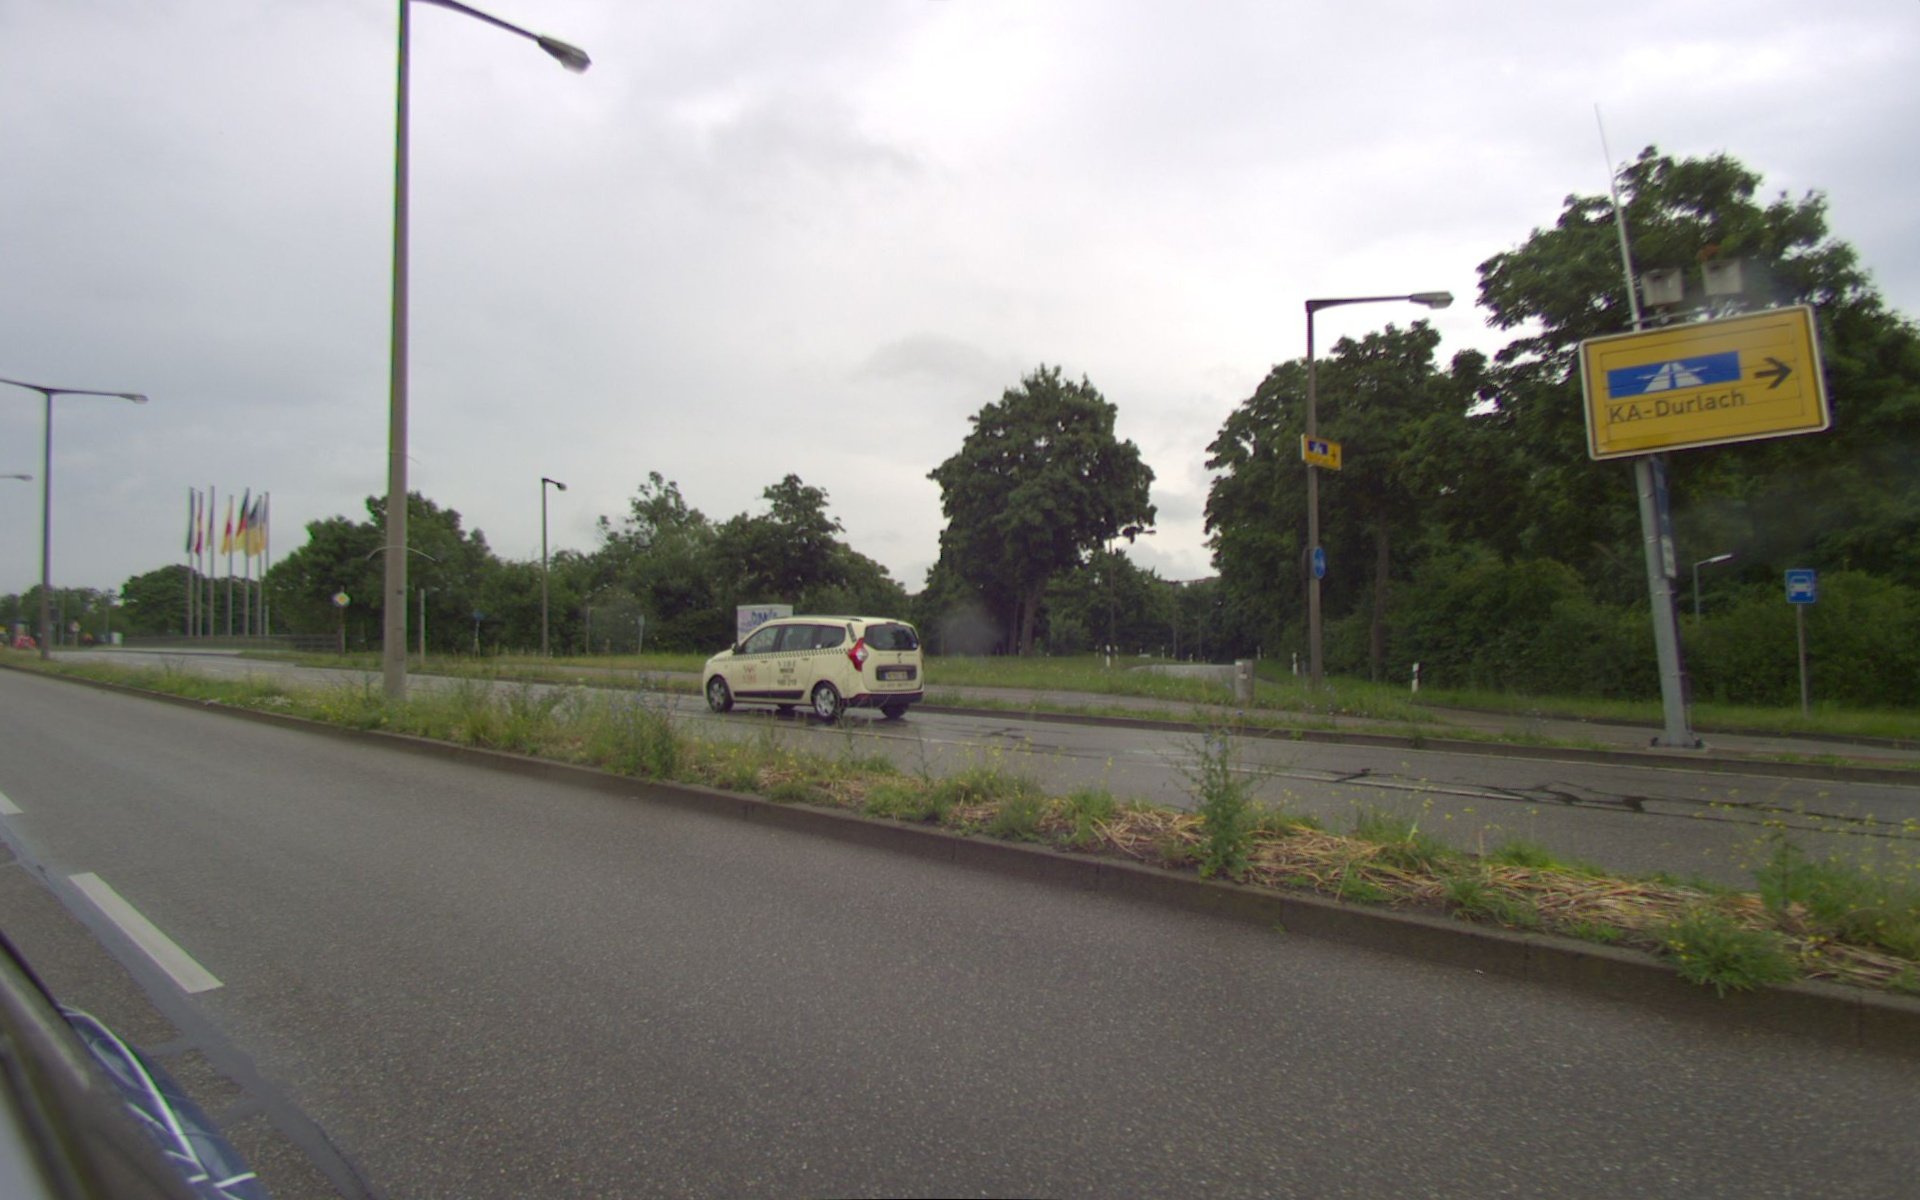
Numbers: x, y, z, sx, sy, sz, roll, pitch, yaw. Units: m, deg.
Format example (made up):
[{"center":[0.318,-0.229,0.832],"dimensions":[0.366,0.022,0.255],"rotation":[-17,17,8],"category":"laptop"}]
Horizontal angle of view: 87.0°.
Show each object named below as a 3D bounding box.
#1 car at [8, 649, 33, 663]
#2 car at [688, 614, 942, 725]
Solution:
[{"center":[-103.254,6.118,111.225],"dimensions":[3.555,1.459,1.643],"rotation":[-2,-4,41],"category":"car"},{"center":[-2.551,1.143,17.132],"dimensions":[4.488,1.642,1.689],"rotation":[-2,-5,40],"category":"car"}]
